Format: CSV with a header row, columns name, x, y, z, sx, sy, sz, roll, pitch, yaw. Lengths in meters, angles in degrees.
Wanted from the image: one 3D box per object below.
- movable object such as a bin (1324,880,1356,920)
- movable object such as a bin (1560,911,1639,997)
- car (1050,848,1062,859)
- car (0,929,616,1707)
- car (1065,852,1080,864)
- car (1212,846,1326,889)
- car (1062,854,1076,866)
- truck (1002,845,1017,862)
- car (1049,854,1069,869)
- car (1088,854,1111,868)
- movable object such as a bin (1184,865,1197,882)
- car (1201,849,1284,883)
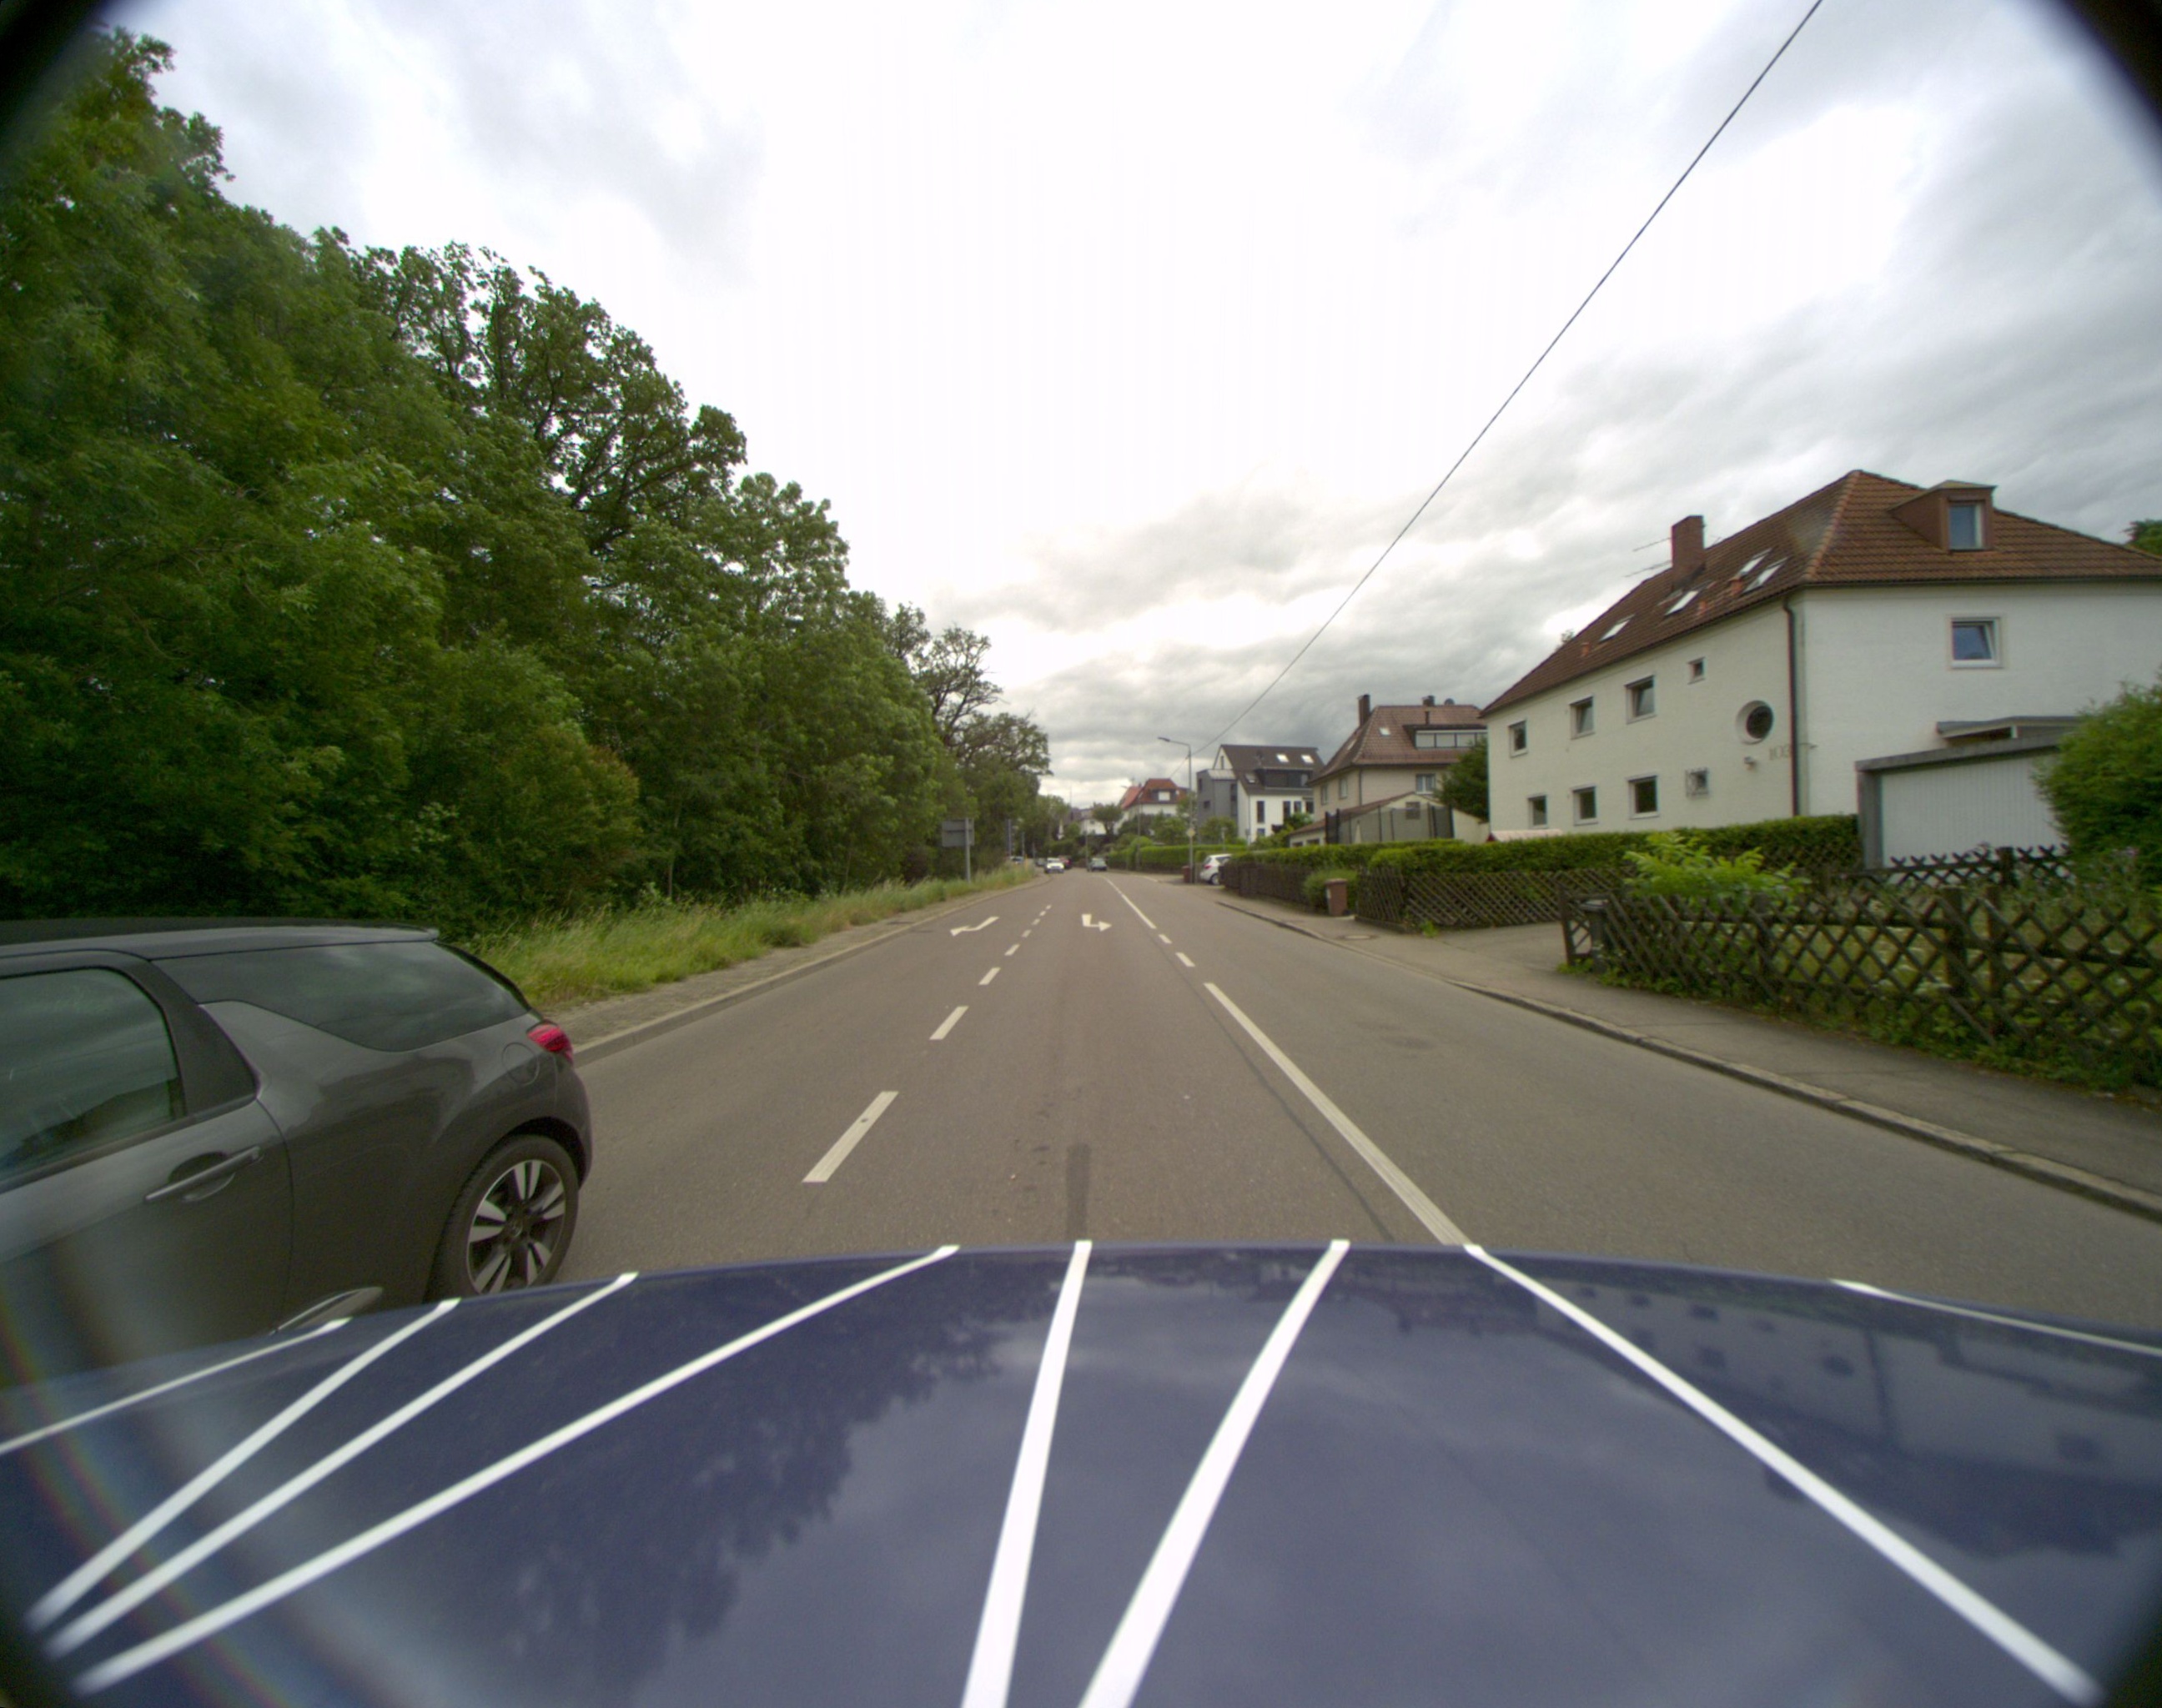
name,x,y,z,sx,sy,sz,roll,pitch,yaw
movable object such as a bin,6.241,1.104,18.345,0.634,0.907,0.561,-2,0,11
movable object such as a bin,6.034,1.150,8.856,0.551,0.933,0.537,-1,1,2
car,-4.067,-0.162,123.804,1.833,1.665,3.997,-1,1,-5
car,-2.844,1.064,1.180,1.730,1.449,3.855,-2,0,2
car,-1.243,0.551,109.926,1.875,1.569,3.998,-1,0,-5
car,8.542,0.616,34.821,4.682,1.660,1.882,-3,0,-1
car,-1.600,0.795,100.674,1.818,1.590,3.955,-1,0,-2
truck,-16.177,-0.143,172.118,3.008,3.618,7.083,-1,0,-8
car,-2.437,0.853,85.484,1.998,1.565,4.000,-1,0,2
car,2.071,0.783,85.838,1.840,1.514,3.996,-1,0,-9
movable object such as a bin,6.259,1.087,43.313,0.689,0.948,0.572,-1,1,4
car,8.526,0.617,40.361,3.997,1.584,1.718,-3,0,1
